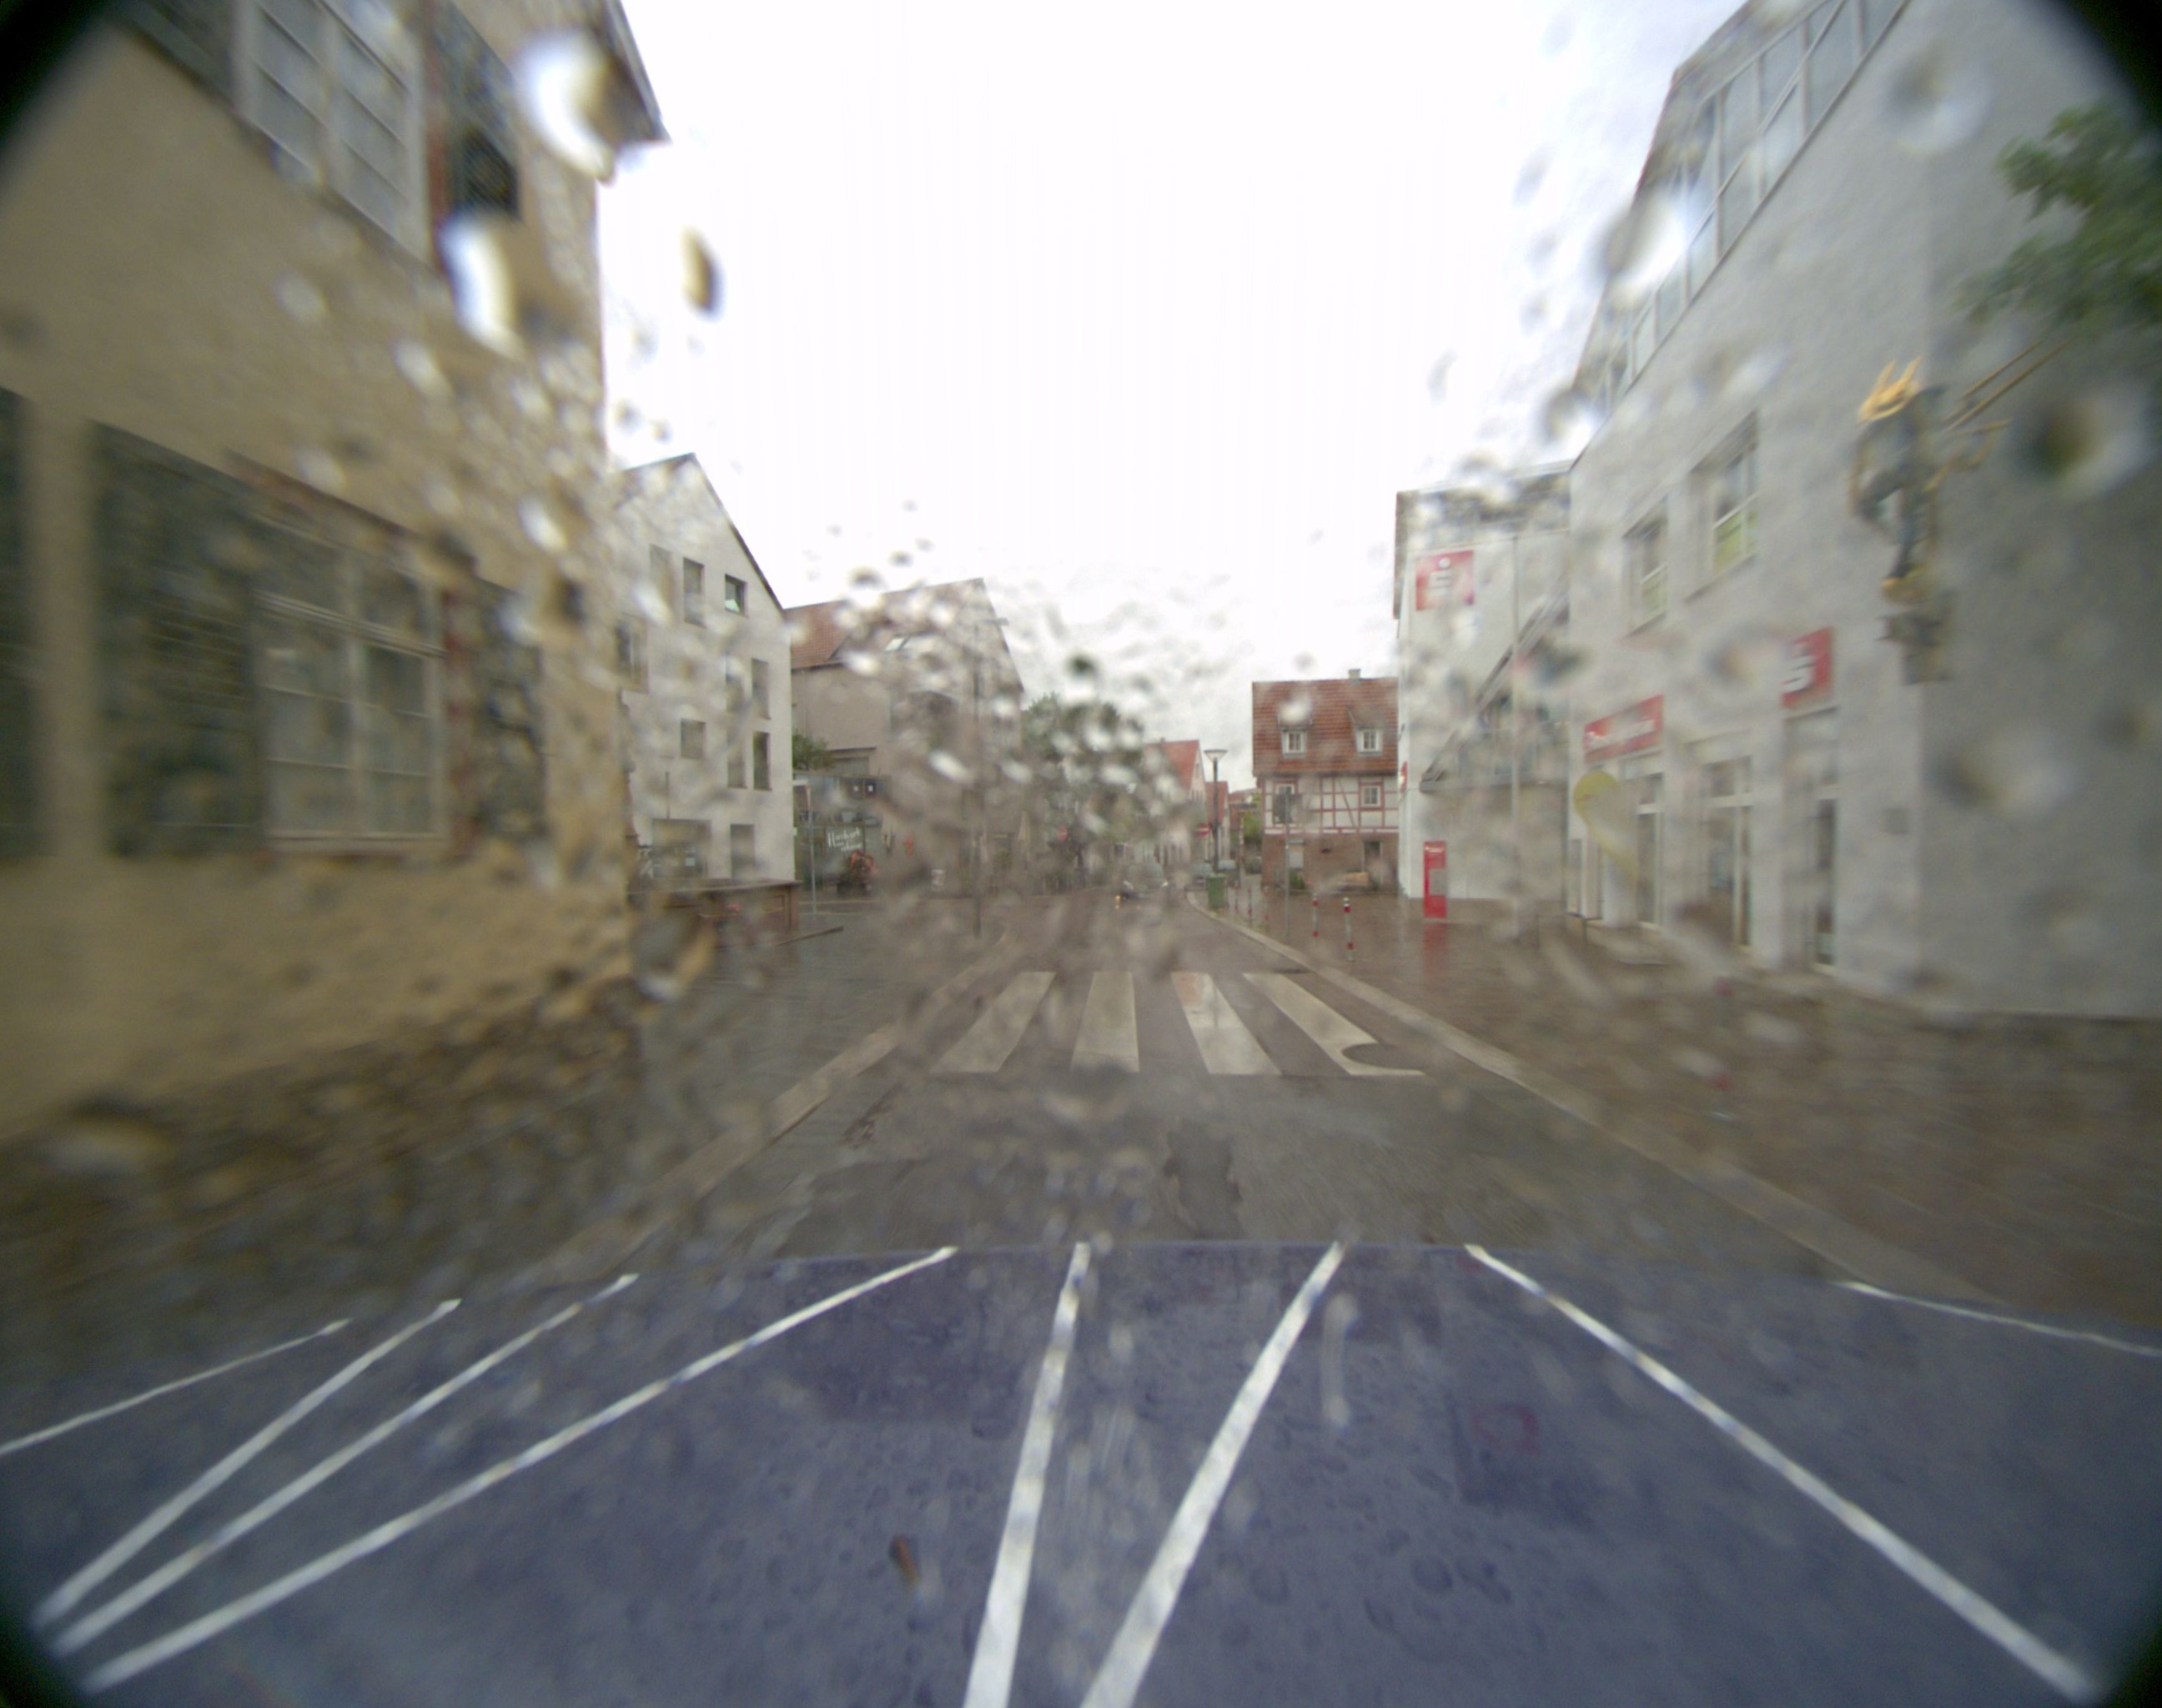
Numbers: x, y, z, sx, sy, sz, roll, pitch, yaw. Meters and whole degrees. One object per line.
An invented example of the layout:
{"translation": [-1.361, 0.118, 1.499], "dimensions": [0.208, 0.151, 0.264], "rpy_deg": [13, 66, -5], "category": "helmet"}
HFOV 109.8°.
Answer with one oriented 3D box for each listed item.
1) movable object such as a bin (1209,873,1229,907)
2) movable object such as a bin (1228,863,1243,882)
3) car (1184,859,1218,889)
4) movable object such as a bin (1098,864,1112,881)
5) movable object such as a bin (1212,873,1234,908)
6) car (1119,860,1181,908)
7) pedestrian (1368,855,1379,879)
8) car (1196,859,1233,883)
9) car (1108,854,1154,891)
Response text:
{"translation": [4.646, 1.195, 25.598], "dimensions": [0.659, 1.108, 0.553], "rpy_deg": [0, 1, 8], "category": "movable object such as a bin"}
{"translation": [9.186, 1.099, 45.061], "dimensions": [0.834, 1.105, 0.920], "rpy_deg": [0, 1, 10], "category": "movable object such as a bin"}
{"translation": [6.505, 1.041, 41.561], "dimensions": [1.693, 1.477, 4.002], "rpy_deg": [-1, 0, 8], "category": "car"}
{"translation": [1.482, 1.146, 47.476], "dimensions": [0.764, 1.068, 0.538], "rpy_deg": [0, 1, 12], "category": "movable object such as a bin"}
{"translation": [4.592, 1.177, 24.649], "dimensions": [0.660, 1.090, 0.613], "rpy_deg": [0, 1, 6], "category": "movable object such as a bin"}
{"translation": [2.470, 0.995, 26.595], "dimensions": [1.735, 1.546, 3.849], "rpy_deg": [0, -1, 12], "category": "car"}
{"translation": [13.879, 0.624, 36.018], "dimensions": [0.411, 1.147, 0.425], "rpy_deg": [0, 0, 11], "category": "pedestrian"}
{"translation": [9.487, 1.155, 53.711], "dimensions": [1.996, 1.520, 4.005], "rpy_deg": [-3, 0, 17], "category": "car"}
{"translation": [2.586, 0.879, 38.426], "dimensions": [1.997, 1.740, 4.002], "rpy_deg": [0, 1, 9], "category": "car"}
